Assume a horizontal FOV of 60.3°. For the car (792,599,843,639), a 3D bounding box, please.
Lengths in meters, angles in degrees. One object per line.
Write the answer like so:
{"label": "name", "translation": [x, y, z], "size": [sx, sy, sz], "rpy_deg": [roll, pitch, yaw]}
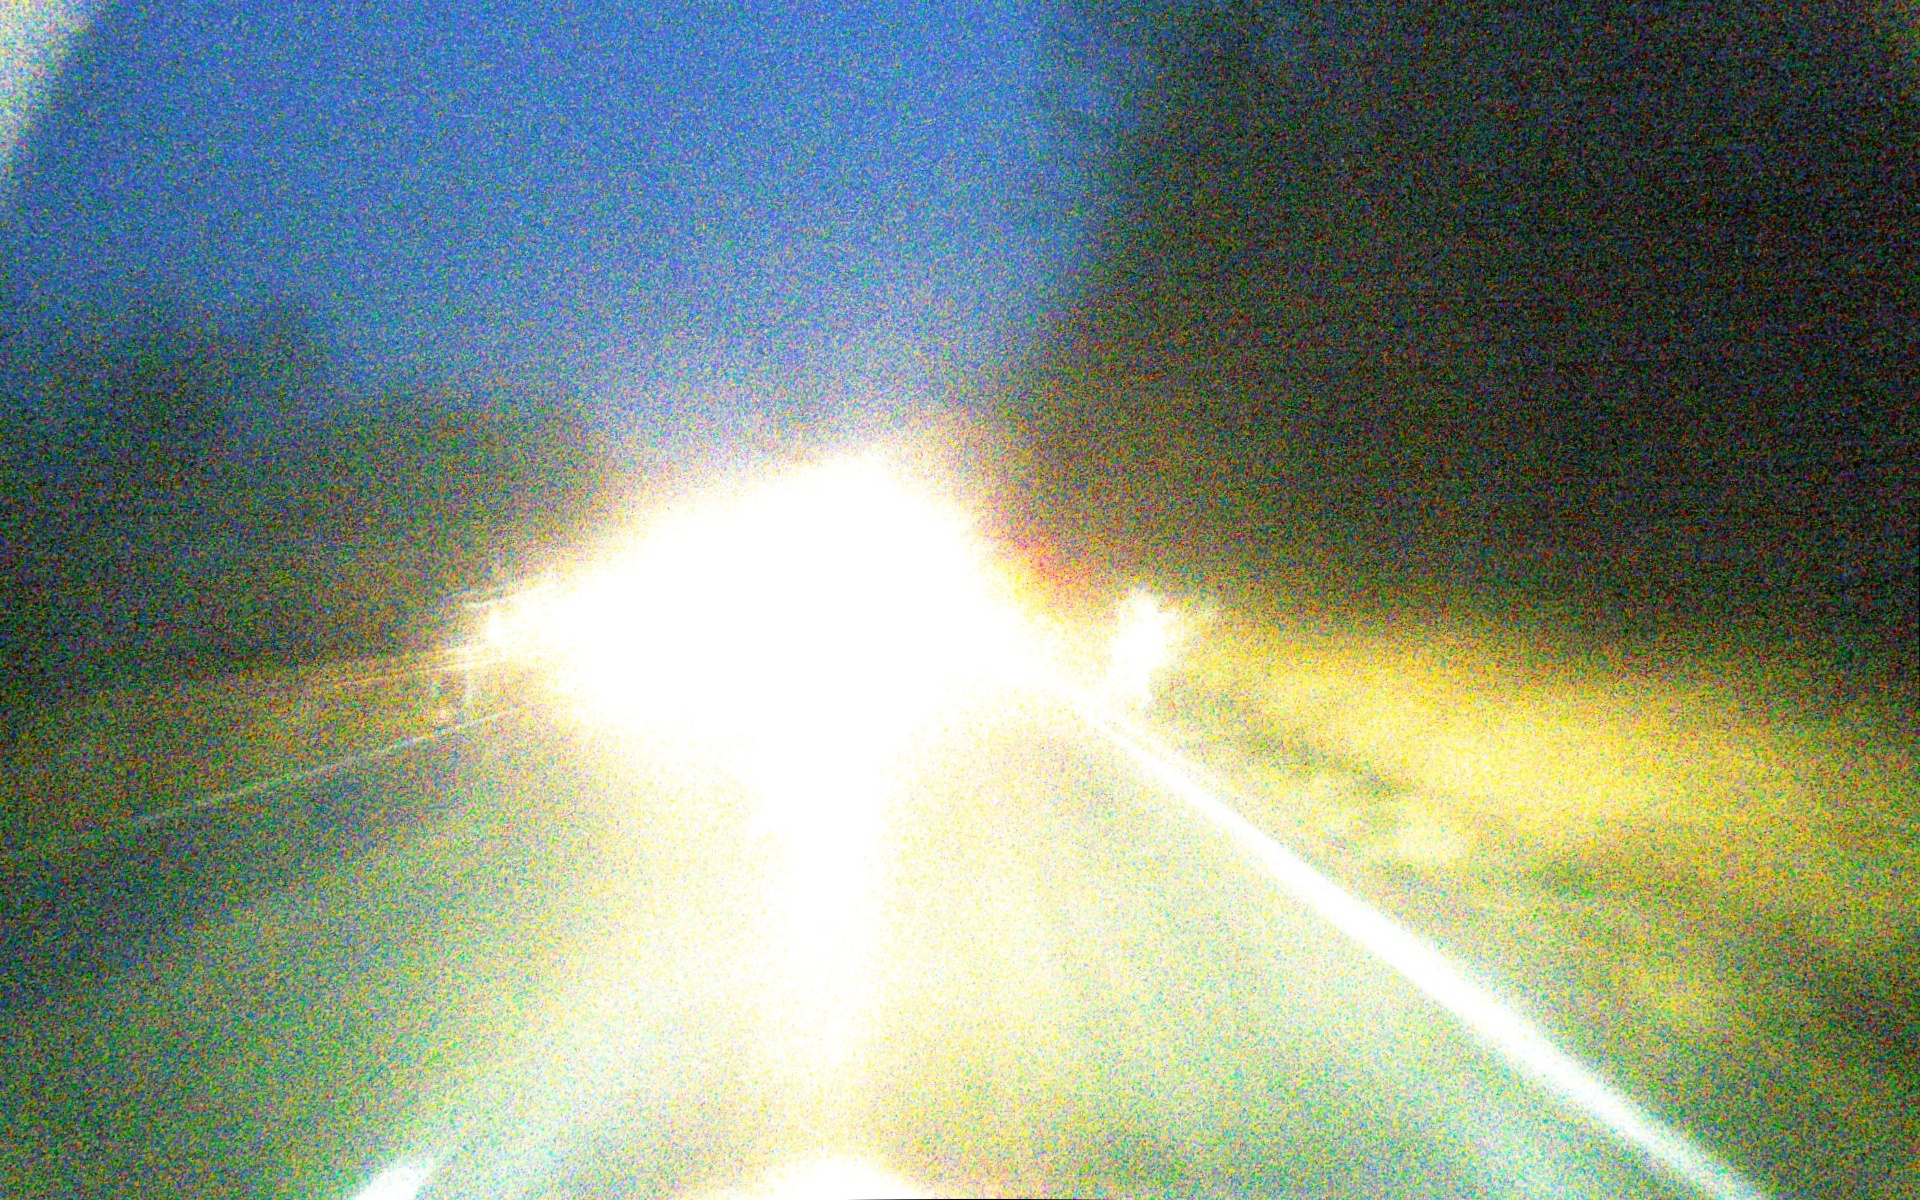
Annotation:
{"label": "car", "translation": [-5.649, 0.764, 65.836], "size": [1.806, 1.531, 3.708], "rpy_deg": [1, -1, -2]}

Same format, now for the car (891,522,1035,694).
{"label": "car", "translation": [0.007, 0.057, 28.536], "size": [2.137, 2.601, 4.507], "rpy_deg": [4, 2, -1]}

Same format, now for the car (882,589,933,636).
{"label": "car", "translation": [-1.779, 0.422, 56.711], "size": [1.672, 1.531, 3.604], "rpy_deg": [1, -1, -1]}
